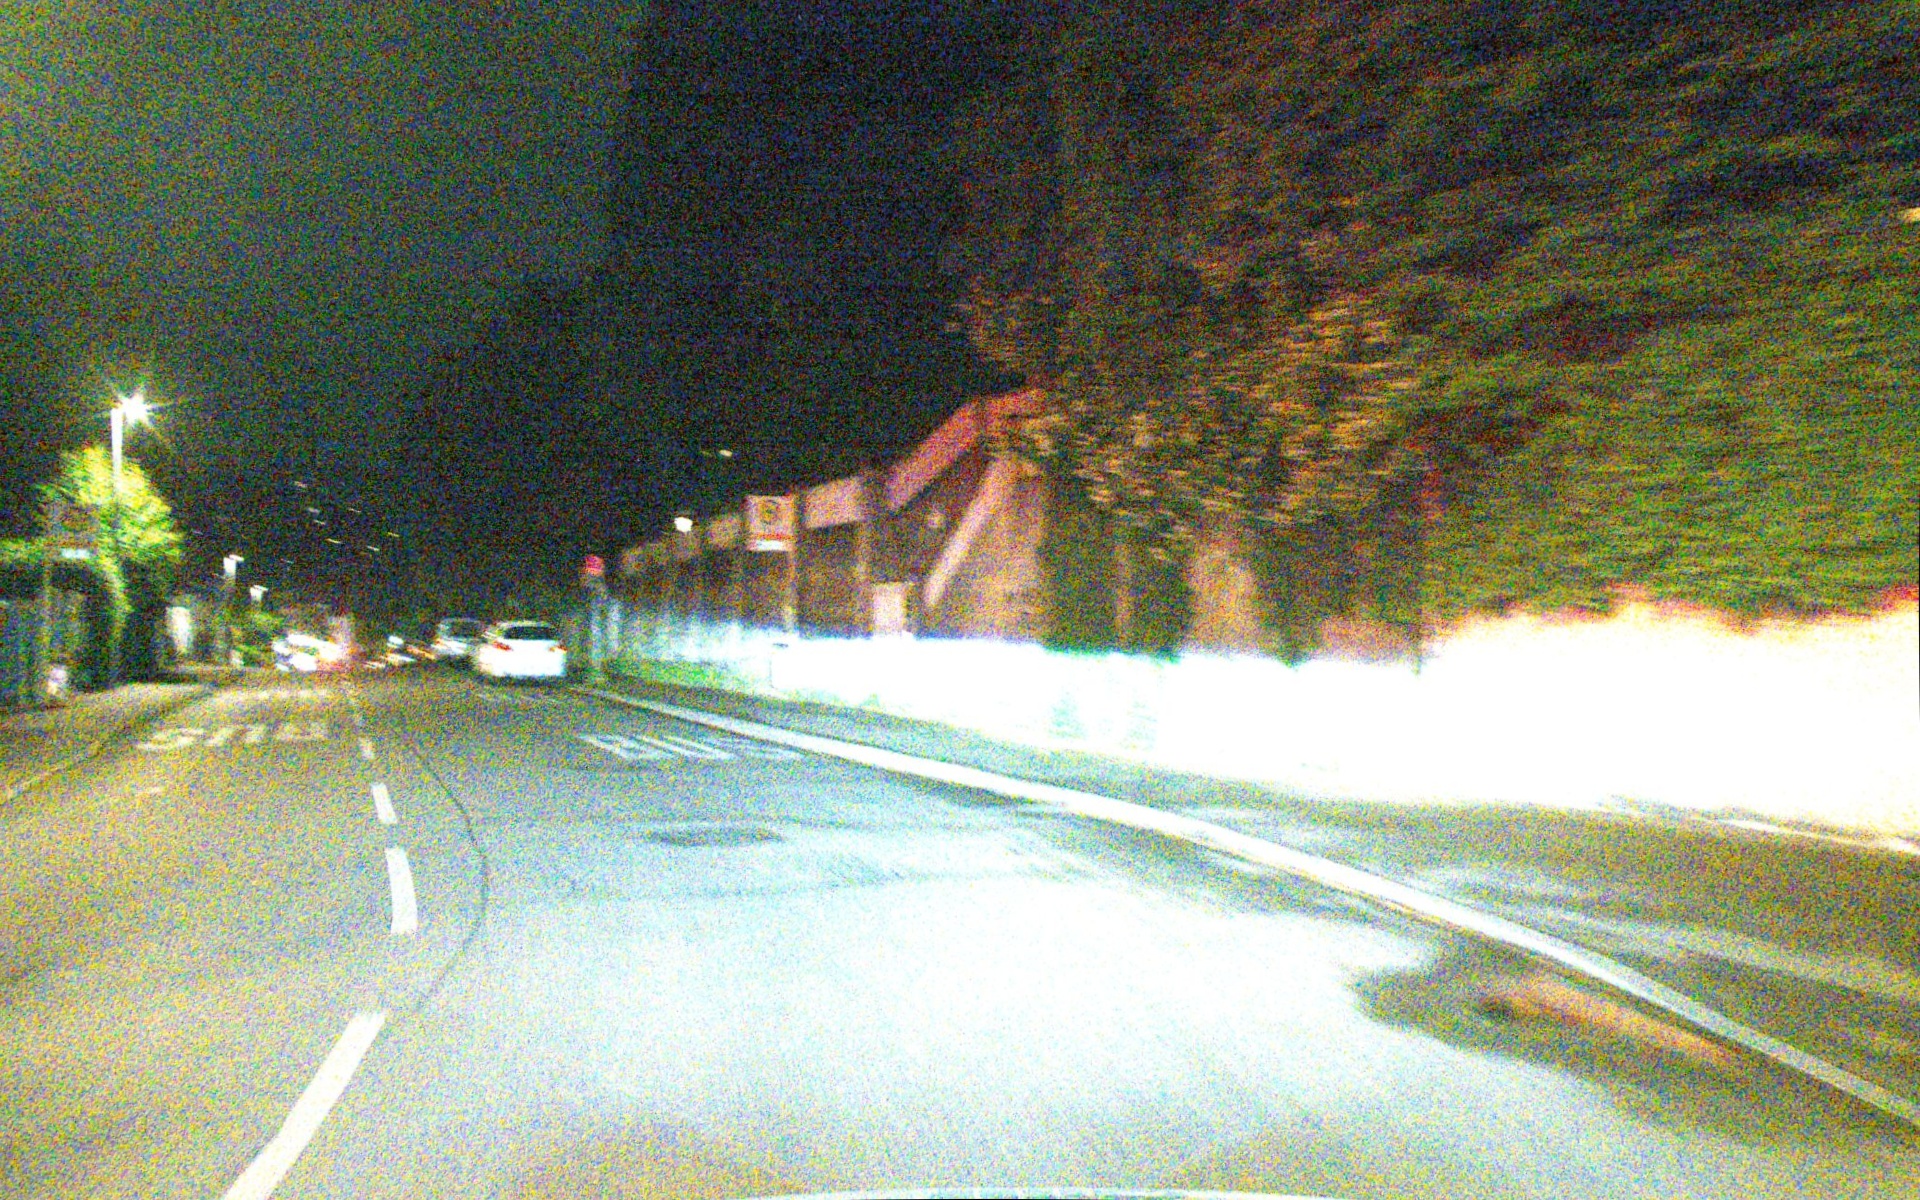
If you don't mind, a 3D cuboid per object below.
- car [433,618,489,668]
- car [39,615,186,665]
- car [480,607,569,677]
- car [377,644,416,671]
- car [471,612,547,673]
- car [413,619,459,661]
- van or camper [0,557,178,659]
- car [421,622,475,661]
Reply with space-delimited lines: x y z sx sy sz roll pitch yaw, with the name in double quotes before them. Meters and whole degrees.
"car" -18.576 1.590 61.419 1.694 1.792 4.728 1 -2 -20
"car" -29.719 1.402 58.150 4.353 1.642 2.052 0 -2 -21
"car" -10.896 1.022 41.192 1.729 1.622 4.699 1 -1 -20
"car" -33.729 3.462 98.886 1.740 1.502 4.241 2 -3 -25
"car" -12.404 1.136 45.413 1.586 1.486 3.693 -3 1 -21
"car" -22.715 1.763 71.657 1.804 1.693 4.592 0 -2 -19
"van or camper" -28.833 0.328 54.530 5.344 3.166 2.109 1 -5 -31
"car" -20.612 1.673 66.480 1.719 1.497 4.228 2 -2 -21
